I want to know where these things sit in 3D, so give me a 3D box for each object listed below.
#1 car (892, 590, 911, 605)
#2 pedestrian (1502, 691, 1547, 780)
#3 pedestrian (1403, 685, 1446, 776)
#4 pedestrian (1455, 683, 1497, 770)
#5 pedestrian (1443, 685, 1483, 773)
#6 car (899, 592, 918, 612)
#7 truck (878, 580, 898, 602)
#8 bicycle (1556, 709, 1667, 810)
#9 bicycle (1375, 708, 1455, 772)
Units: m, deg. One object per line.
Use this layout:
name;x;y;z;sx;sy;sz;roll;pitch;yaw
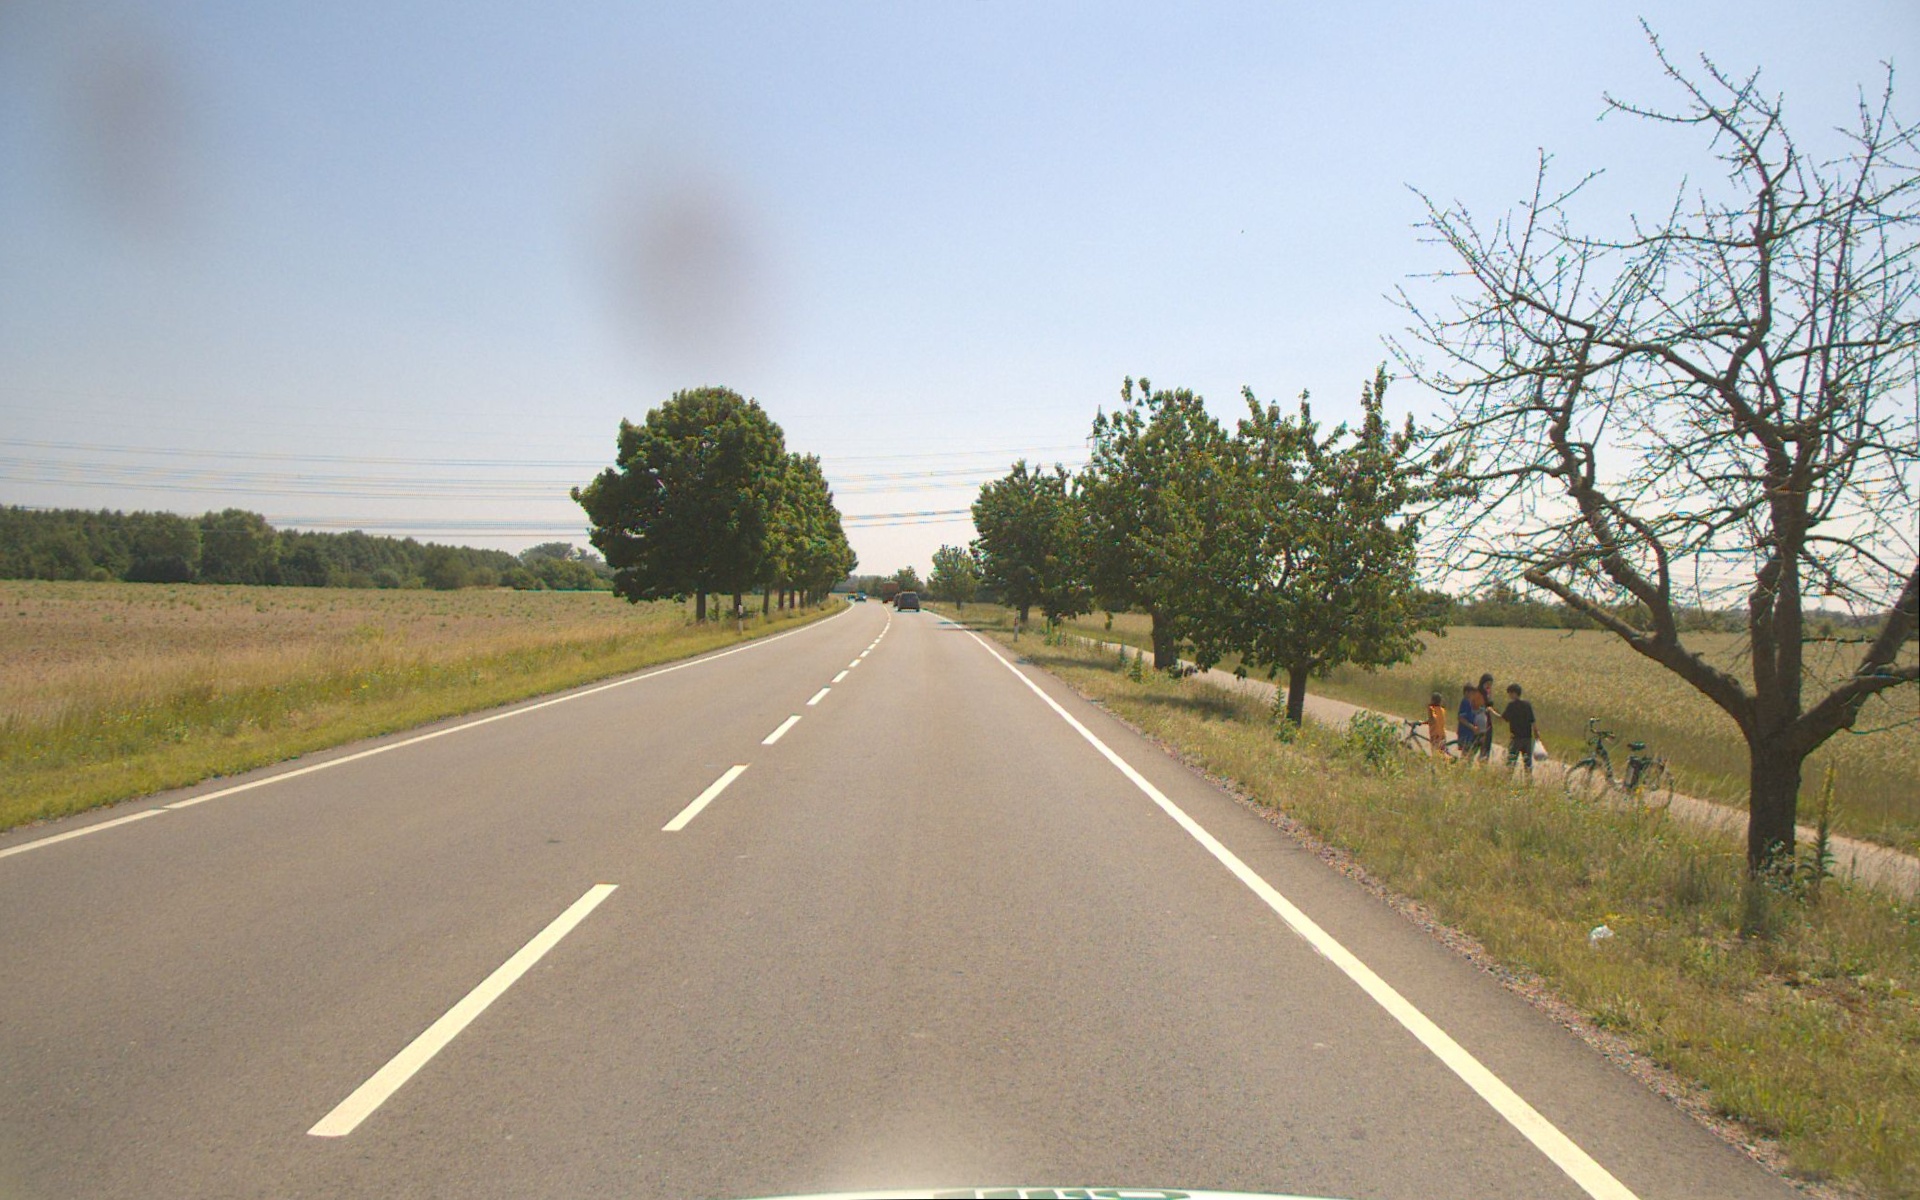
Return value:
car;-6.527;-0.271;185.343;1.815;1.549;3.994;1;0;-6
pedestrian;8.650;2.070;25.352;0.437;1.318;0.481;1;0;-35
pedestrian;7.050;1.971;25.114;0.478;1.318;0.440;1;0;40
pedestrian;8.207;2.002;26.293;0.478;1.337;0.439;1;0;41
pedestrian;7.863;2.006;25.859;0.477;1.318;0.441;1;0;31
car;-4.534;0.153;145.579;1.680;1.723;3.987;1;0;-2
truck;-10.830;-1.326;248.562;2.326;3.194;8.734;2;0;-7
bicycle;8.870;2.151;22.585;0.467;1.186;1.675;1;0;-16
bicycle;7.026;2.151;25.558;1.097;0.875;0.440;1;0;36
